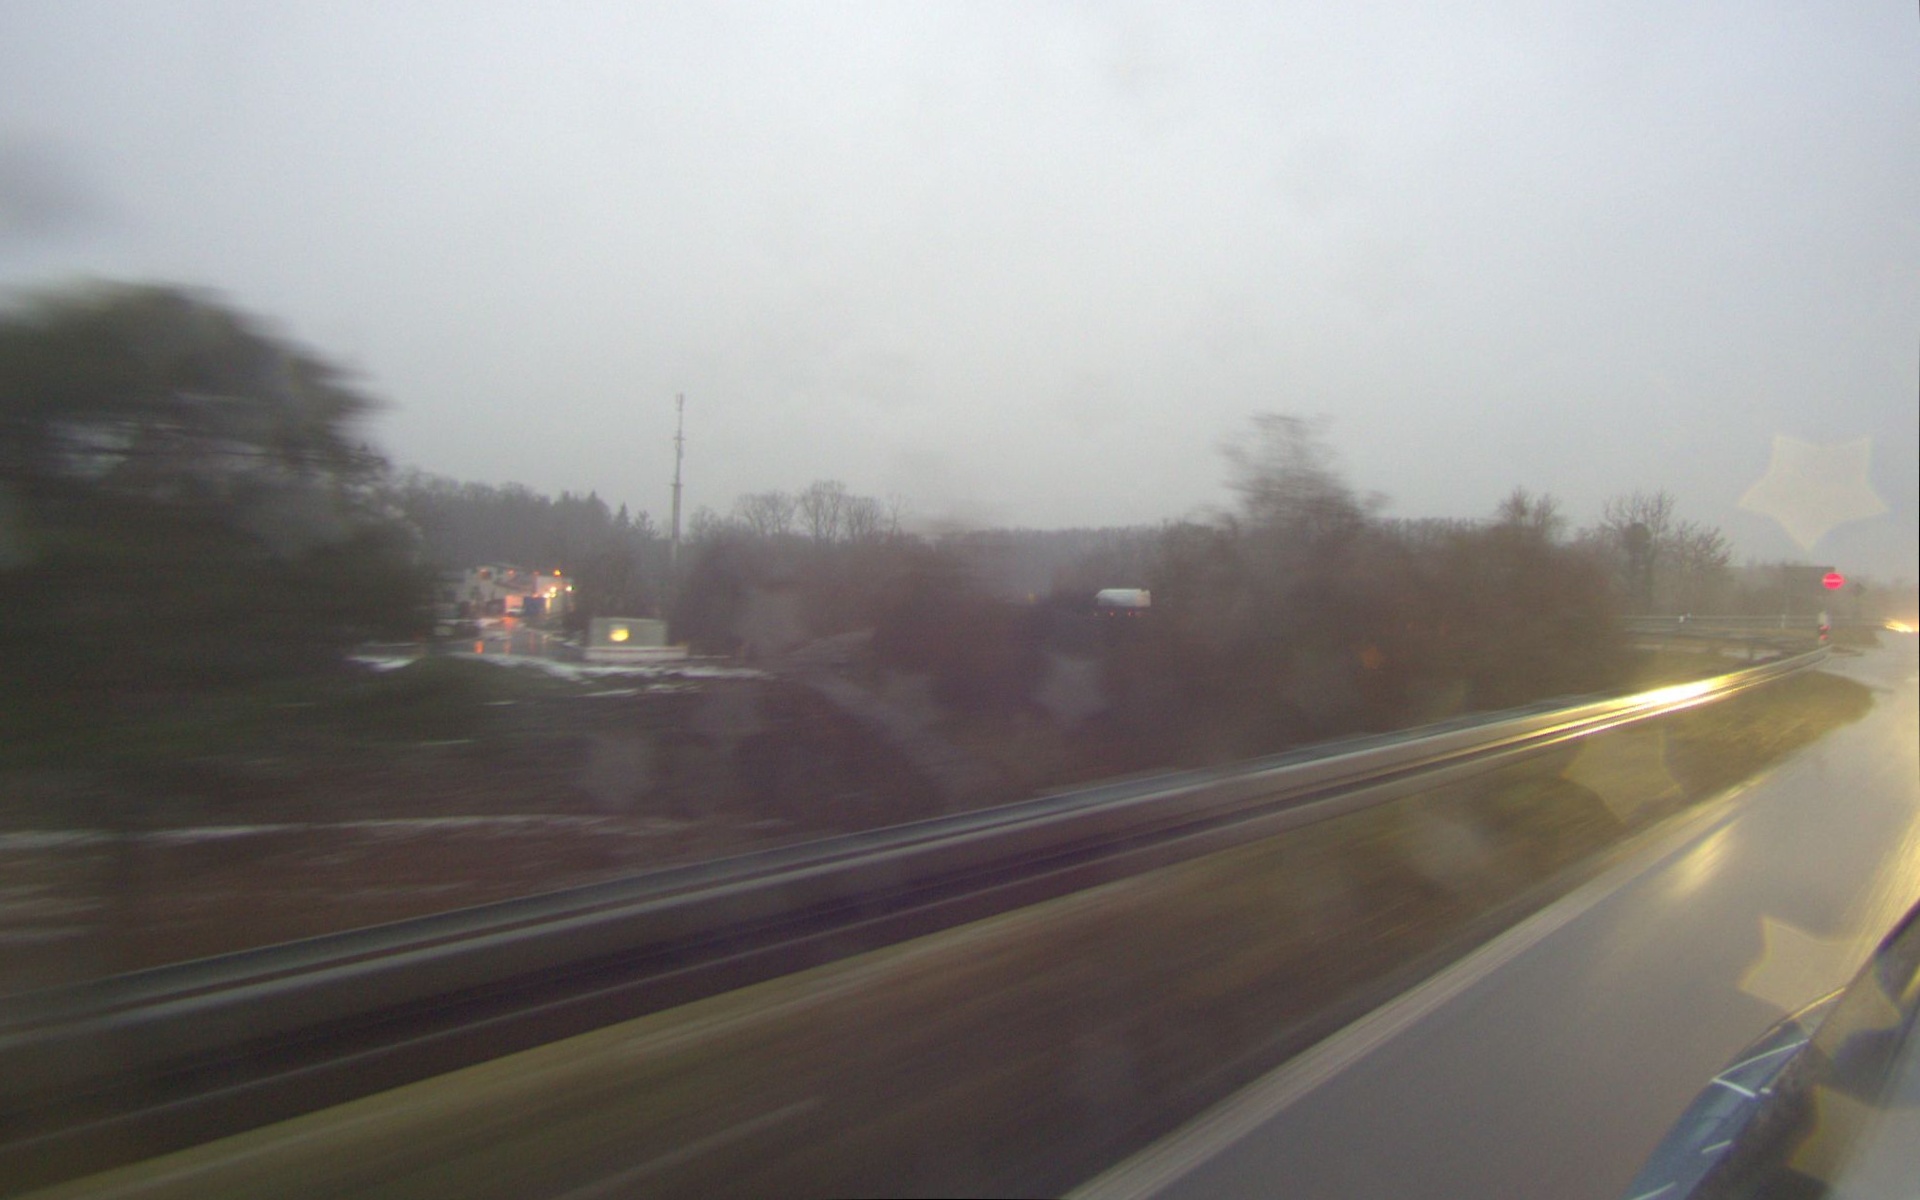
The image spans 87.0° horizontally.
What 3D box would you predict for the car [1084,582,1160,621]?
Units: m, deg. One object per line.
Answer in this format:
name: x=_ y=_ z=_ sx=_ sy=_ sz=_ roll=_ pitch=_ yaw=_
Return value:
car: x=13.451 y=0.114 z=84.440 sx=2.246 sy=3.003 sz=6.389 roll=2 pitch=0 yaw=-37
